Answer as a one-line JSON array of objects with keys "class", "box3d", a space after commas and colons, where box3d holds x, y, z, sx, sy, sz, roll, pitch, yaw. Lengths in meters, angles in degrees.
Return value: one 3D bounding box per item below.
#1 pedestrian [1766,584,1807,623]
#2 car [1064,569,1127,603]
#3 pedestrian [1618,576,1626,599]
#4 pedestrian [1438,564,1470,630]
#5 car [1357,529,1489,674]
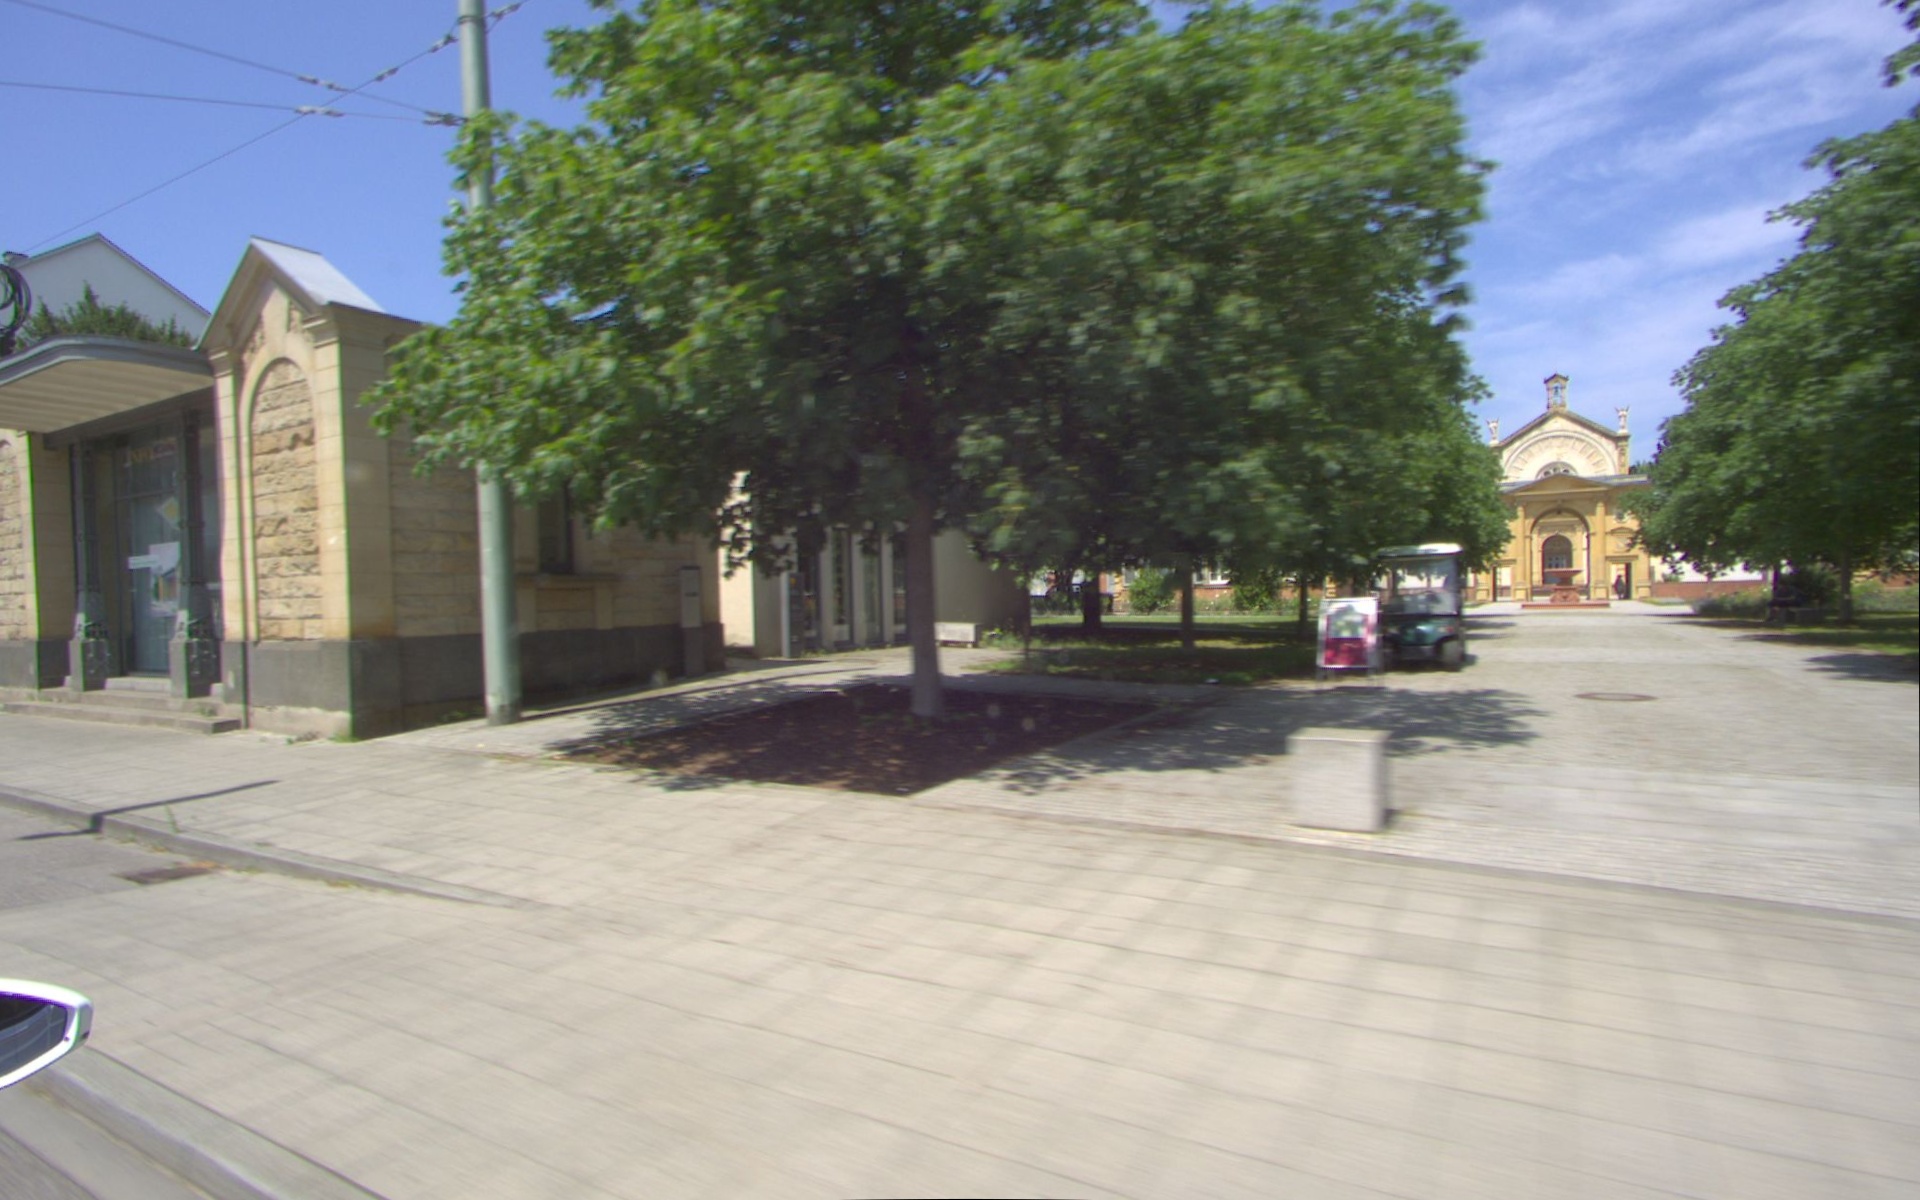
[{"class": "pedestrian", "box3d": [24.400, 0.091, 29.576, 0.819, 1.129, 0.792, -1, 2, 32]}, {"class": "car", "box3d": [8.595, -0.895, 63.594, 3.591, 2.020, 1.670, -1, 1, 31]}, {"class": "pedestrian", "box3d": [44.881, -0.855, 67.928, 0.410, 1.508, 0.501, 0, 2, 30]}, {"class": "pedestrian", "box3d": [13.937, -0.083, 28.224, 0.757, 1.817, 0.770, -1, 1, 30]}, {"class": "car", "box3d": [7.425, 0.012, 15.918, 1.444, 2.040, 3.323, -2, 0, 32]}]
